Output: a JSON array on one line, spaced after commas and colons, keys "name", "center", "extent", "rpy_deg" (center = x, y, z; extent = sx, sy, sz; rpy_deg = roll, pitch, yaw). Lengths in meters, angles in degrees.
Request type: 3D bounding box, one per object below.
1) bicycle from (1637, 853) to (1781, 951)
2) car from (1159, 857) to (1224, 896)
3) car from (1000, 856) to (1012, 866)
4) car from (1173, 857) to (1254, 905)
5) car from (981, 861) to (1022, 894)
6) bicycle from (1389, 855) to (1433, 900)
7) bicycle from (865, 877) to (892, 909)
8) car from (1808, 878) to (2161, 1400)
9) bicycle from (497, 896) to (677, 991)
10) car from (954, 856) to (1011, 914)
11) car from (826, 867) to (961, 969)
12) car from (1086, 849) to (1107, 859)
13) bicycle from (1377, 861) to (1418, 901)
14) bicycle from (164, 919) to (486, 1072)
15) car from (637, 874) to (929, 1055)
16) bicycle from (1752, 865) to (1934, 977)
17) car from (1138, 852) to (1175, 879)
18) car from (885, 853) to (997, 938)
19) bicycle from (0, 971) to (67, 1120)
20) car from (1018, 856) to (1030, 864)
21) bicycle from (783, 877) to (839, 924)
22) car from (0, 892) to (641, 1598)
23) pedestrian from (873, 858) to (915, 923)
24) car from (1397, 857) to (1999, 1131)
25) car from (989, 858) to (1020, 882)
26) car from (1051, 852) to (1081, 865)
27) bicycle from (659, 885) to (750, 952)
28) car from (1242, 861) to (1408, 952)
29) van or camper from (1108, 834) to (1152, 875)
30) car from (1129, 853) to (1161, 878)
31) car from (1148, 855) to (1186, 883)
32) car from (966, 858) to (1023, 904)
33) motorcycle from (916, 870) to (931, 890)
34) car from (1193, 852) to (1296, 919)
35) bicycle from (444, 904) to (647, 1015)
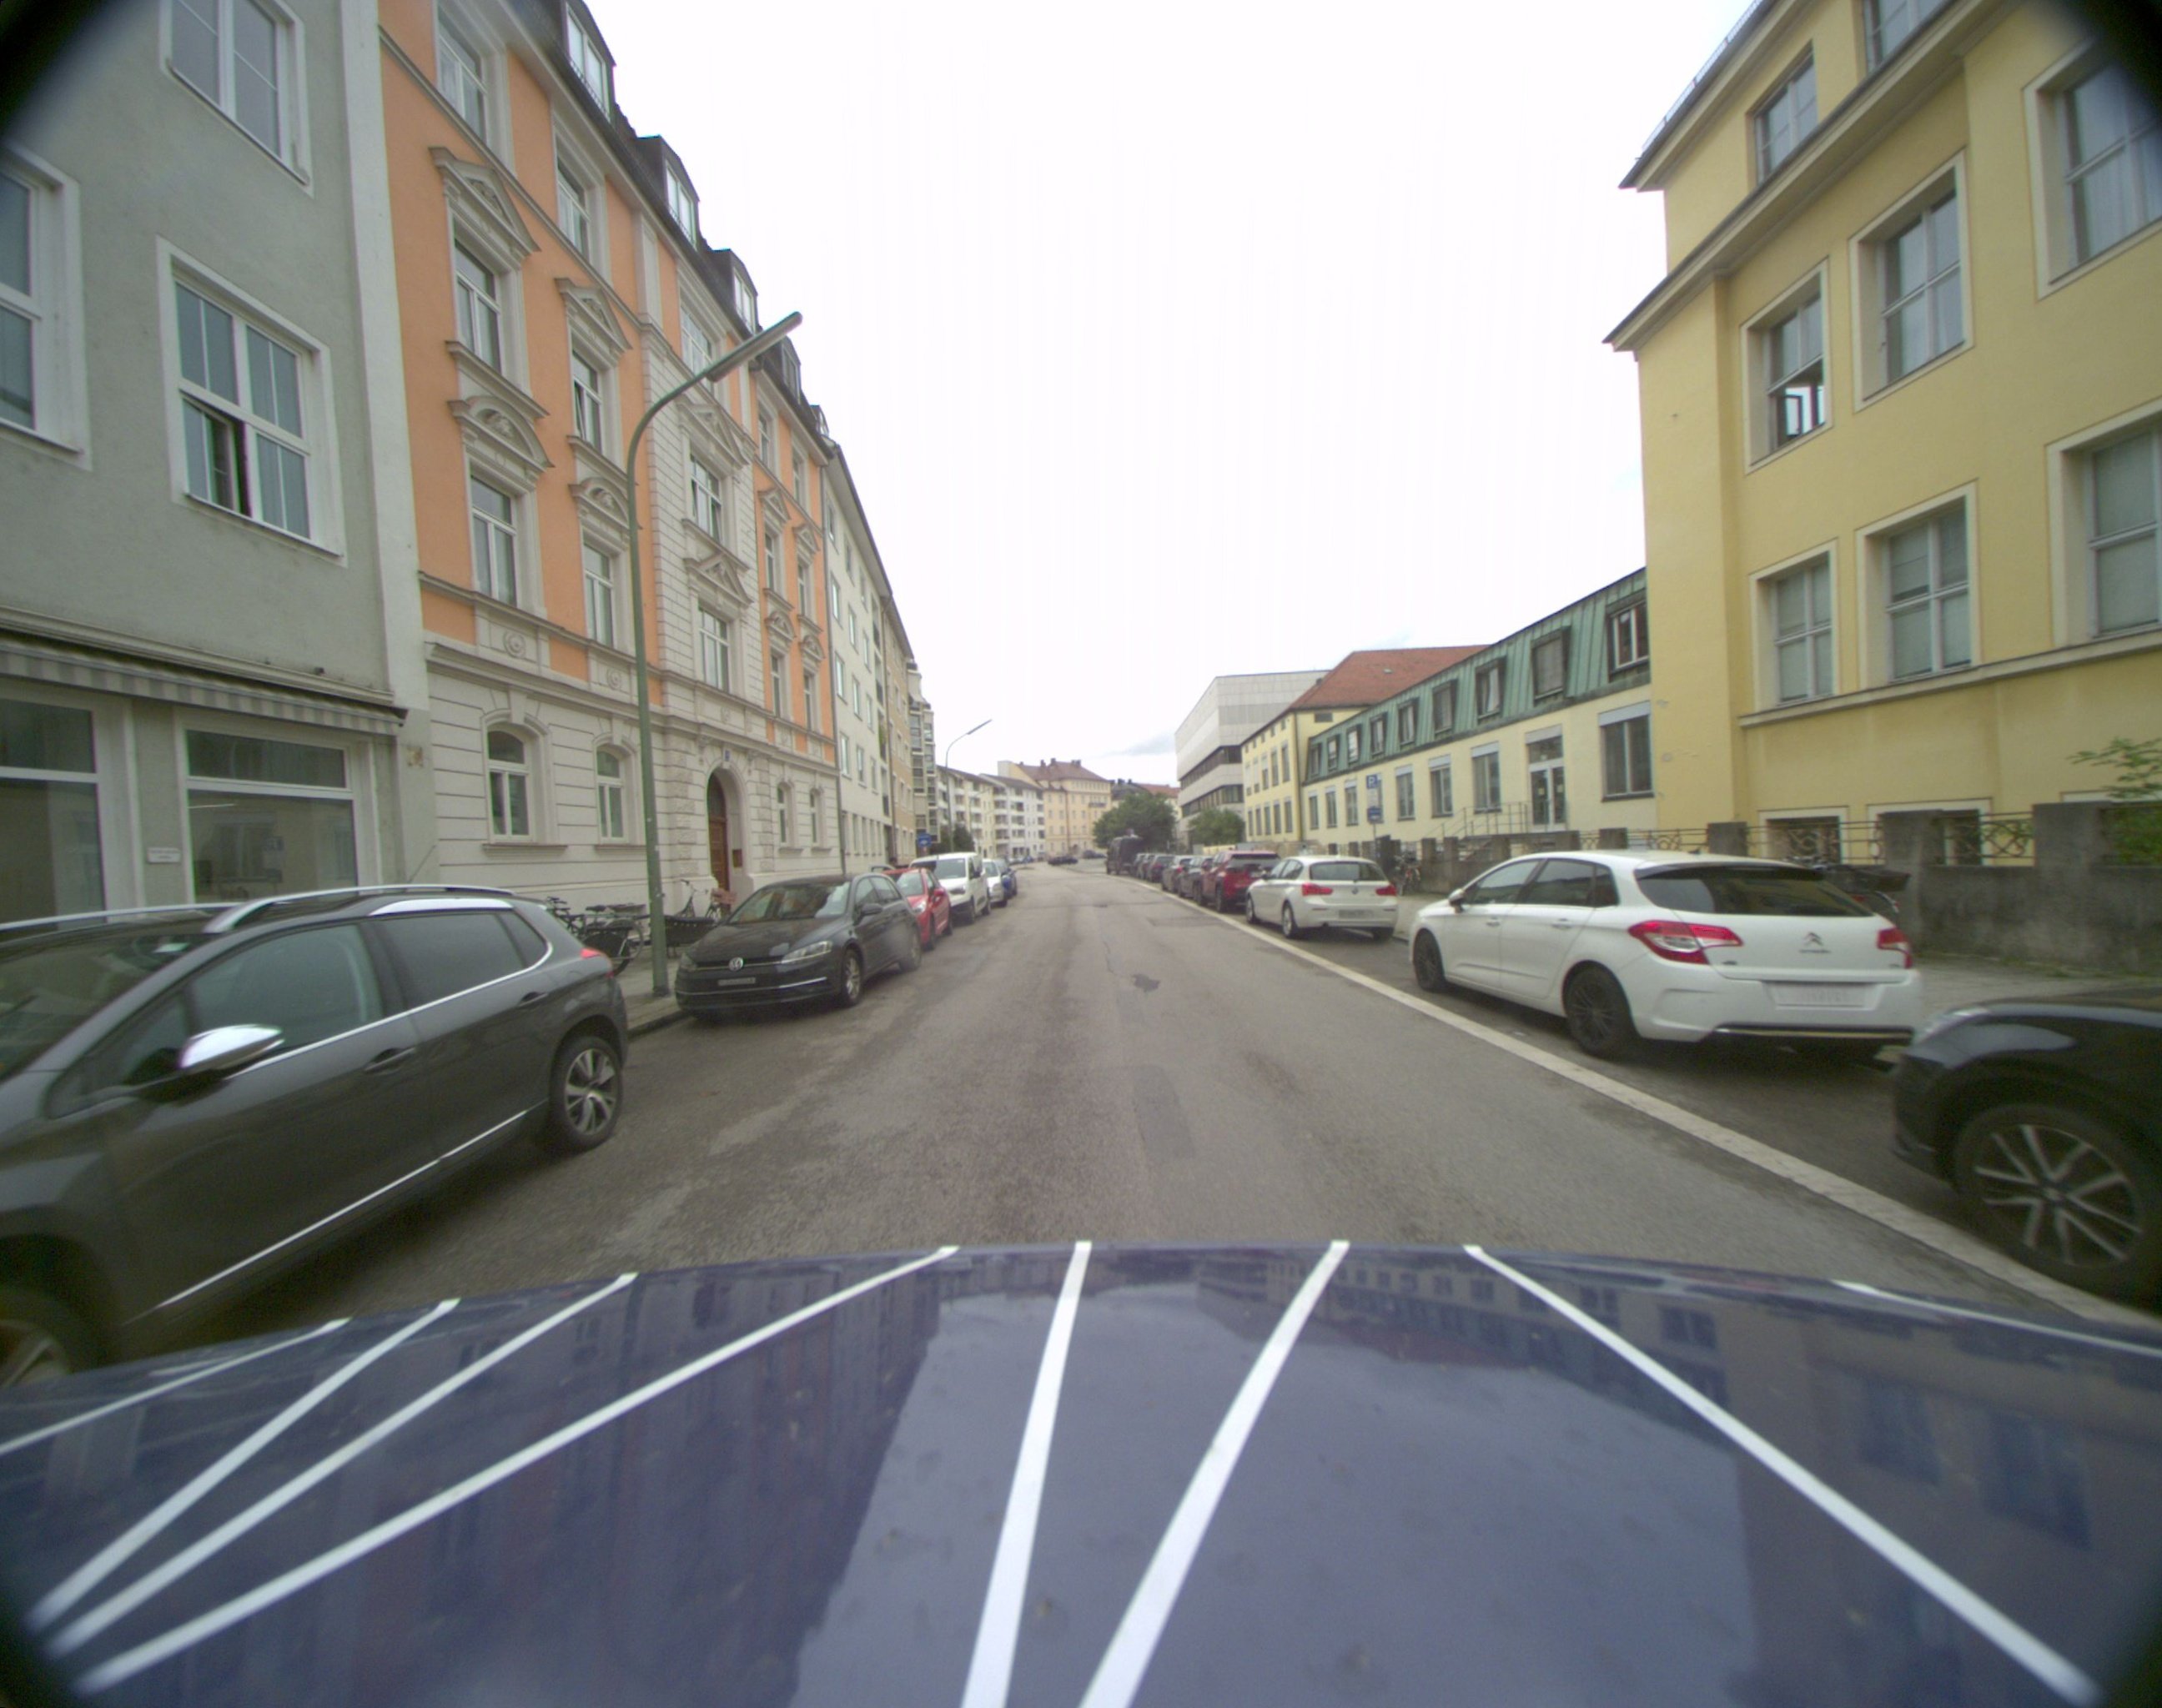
[{"name": "bicycle", "center": [8.641, 0.613, 10.551], "extent": [0.587, 1.191, 1.717], "rpy_deg": [-5, 0, 4]}, {"name": "car", "center": [4.223, 0.820, 29.626], "extent": [1.798, 1.397, 4.126], "rpy_deg": [0, 0, -2]}, {"name": "car", "center": [-12.036, 1.120, 121.978], "extent": [1.756, 1.445, 3.568], "rpy_deg": [-3, 0, -3]}, {"name": "car", "center": [4.158, 0.796, 24.463], "extent": [1.679, 1.397, 3.989], "rpy_deg": [0, 0, -4]}, {"name": "car", "center": [-3.847, 1.085, 36.708], "extent": [1.746, 1.388, 4.198], "rpy_deg": [-5, 0, -6]}, {"name": "bicycle", "center": [9.213, 0.628, 21.292], "extent": [0.424, 1.165, 1.938], "rpy_deg": [-5, 0, 4]}, {"name": "bicycle", "center": [-7.777, 1.486, 29.274], "extent": [0.669, 1.115, 1.651], "rpy_deg": [-4, 1, -6]}, {"name": "car", "center": [4.002, 0.854, 1.307], "extent": [1.684, 1.487, 3.985], "rpy_deg": [0, 0, 0]}, {"name": "bicycle", "center": [-7.146, 1.245, 11.085], "extent": [0.607, 1.176, 2.100], "rpy_deg": [-2, -1, 44]}, {"name": "car", "center": [-3.251, 0.974, 25.287], "extent": [1.608, 1.633, 3.629], "rpy_deg": [-5, 1, -6]}, {"name": "car", "center": [-3.433, 1.097, 14.719], "extent": [1.603, 1.443, 4.300], "rpy_deg": [-5, 1, -3]}, {"name": "car", "center": [3.085, -0.028, 147.504], "extent": [3.997, 1.849, 2.000], "rpy_deg": [-2, 1, 1]}, {"name": "bicycle", "center": [8.770, 0.731, 21.095], "extent": [0.456, 0.989, 1.741], "rpy_deg": [-5, 0, 4]}, {"name": "bicycle", "center": [-7.486, 1.331, 7.786], "extent": [0.771, 1.068, 2.458], "rpy_deg": [-3, 0, 1]}, {"name": "car", "center": [-3.255, 1.117, 9.295], "extent": [1.696, 1.443, 4.083], "rpy_deg": [-5, 1, 2]}, {"name": "bicycle", "center": [8.621, 0.712, 8.705], "extent": [0.587, 1.071, 1.718], "rpy_deg": [-5, 0, 13]}, {"name": "car", "center": [4.408, 0.659, 44.955], "extent": [1.700, 1.553, 3.866], "rpy_deg": [0, 0, -2]}, {"name": "car", "center": [-3.525, 0.967, 20.071], "extent": [1.845, 1.775, 4.894], "rpy_deg": [-5, 0, 1]}, {"name": "bicycle", "center": [-7.820, 1.384, 4.945], "extent": [0.331, 0.998, 1.521], "rpy_deg": [-2, 0, 1]}, {"name": "car", "center": [-10.610, 1.084, 141.460], "extent": [1.756, 1.445, 3.570], "rpy_deg": [-3, 0, 2]}, {"name": "bicycle", "center": [-7.335, 1.244, 20.746], "extent": [0.652, 1.176, 2.096], "rpy_deg": [-1, -1, 3]}, {"name": "car", "center": [-3.593, 1.106, 2.688], "extent": [1.697, 1.574, 4.082], "rpy_deg": [-5, 1, -3]}, {"name": "pedestrian", "center": [-4.946, 0.950, 20.159], "extent": [0.863, 1.652, 0.647], "rpy_deg": [-3, 1, 0]}, {"name": "car", "center": [4.393, 0.817, 6.408], "extent": [1.727, 1.518, 4.086], "rpy_deg": [1, 0, 0]}, {"name": "car", "center": [-5.055, 0.999, 50.352], "extent": [1.896, 1.454, 4.488], "rpy_deg": [-1, 0, -6]}, {"name": "car", "center": [-2.178, 0.654, 111.190], "extent": [4.248, 1.849, 1.999], "rpy_deg": [-2, 0, -5]}, {"name": "bicycle", "center": [-7.357, 1.223, 14.957], "extent": [0.652, 1.176, 2.096], "rpy_deg": [-1, -1, 3]}, {"name": "car", "center": [4.299, 0.853, 14.055], "extent": [1.679, 1.390, 3.996], "rpy_deg": [0, 0, -2]}, {"name": "van or camper", "center": [3.502, 0.018, 55.757], "extent": [2.142, 2.791, 5.569], "rpy_deg": [-2, 0, -7]}, {"name": "car", "center": [4.114, 0.686, 49.303], "extent": [1.642, 1.553, 3.838], "rpy_deg": [0, 0, -2]}, {"name": "car", "center": [4.504, 0.746, 40.099], "extent": [1.699, 1.397, 4.000], "rpy_deg": [0, 0, 2]}, {"name": "car", "center": [-3.409, 1.015, 30.689], "extent": [1.745, 1.578, 4.200], "rpy_deg": [-5, 0, -1]}, {"name": "motorcycle", "center": [-9.691, 1.576, 46.859], "extent": [0.629, 1.119, 1.798], "rpy_deg": [-3, 0, -4]}, {"name": "car", "center": [4.115, 0.726, 19.704], "extent": [1.679, 1.557, 3.996], "rpy_deg": [0, 0, -2]}, {"name": "bicycle", "center": [-7.091, 1.344, 10.162], "extent": [0.607, 1.176, 2.099], "rpy_deg": [-2, 1, 45]}]
